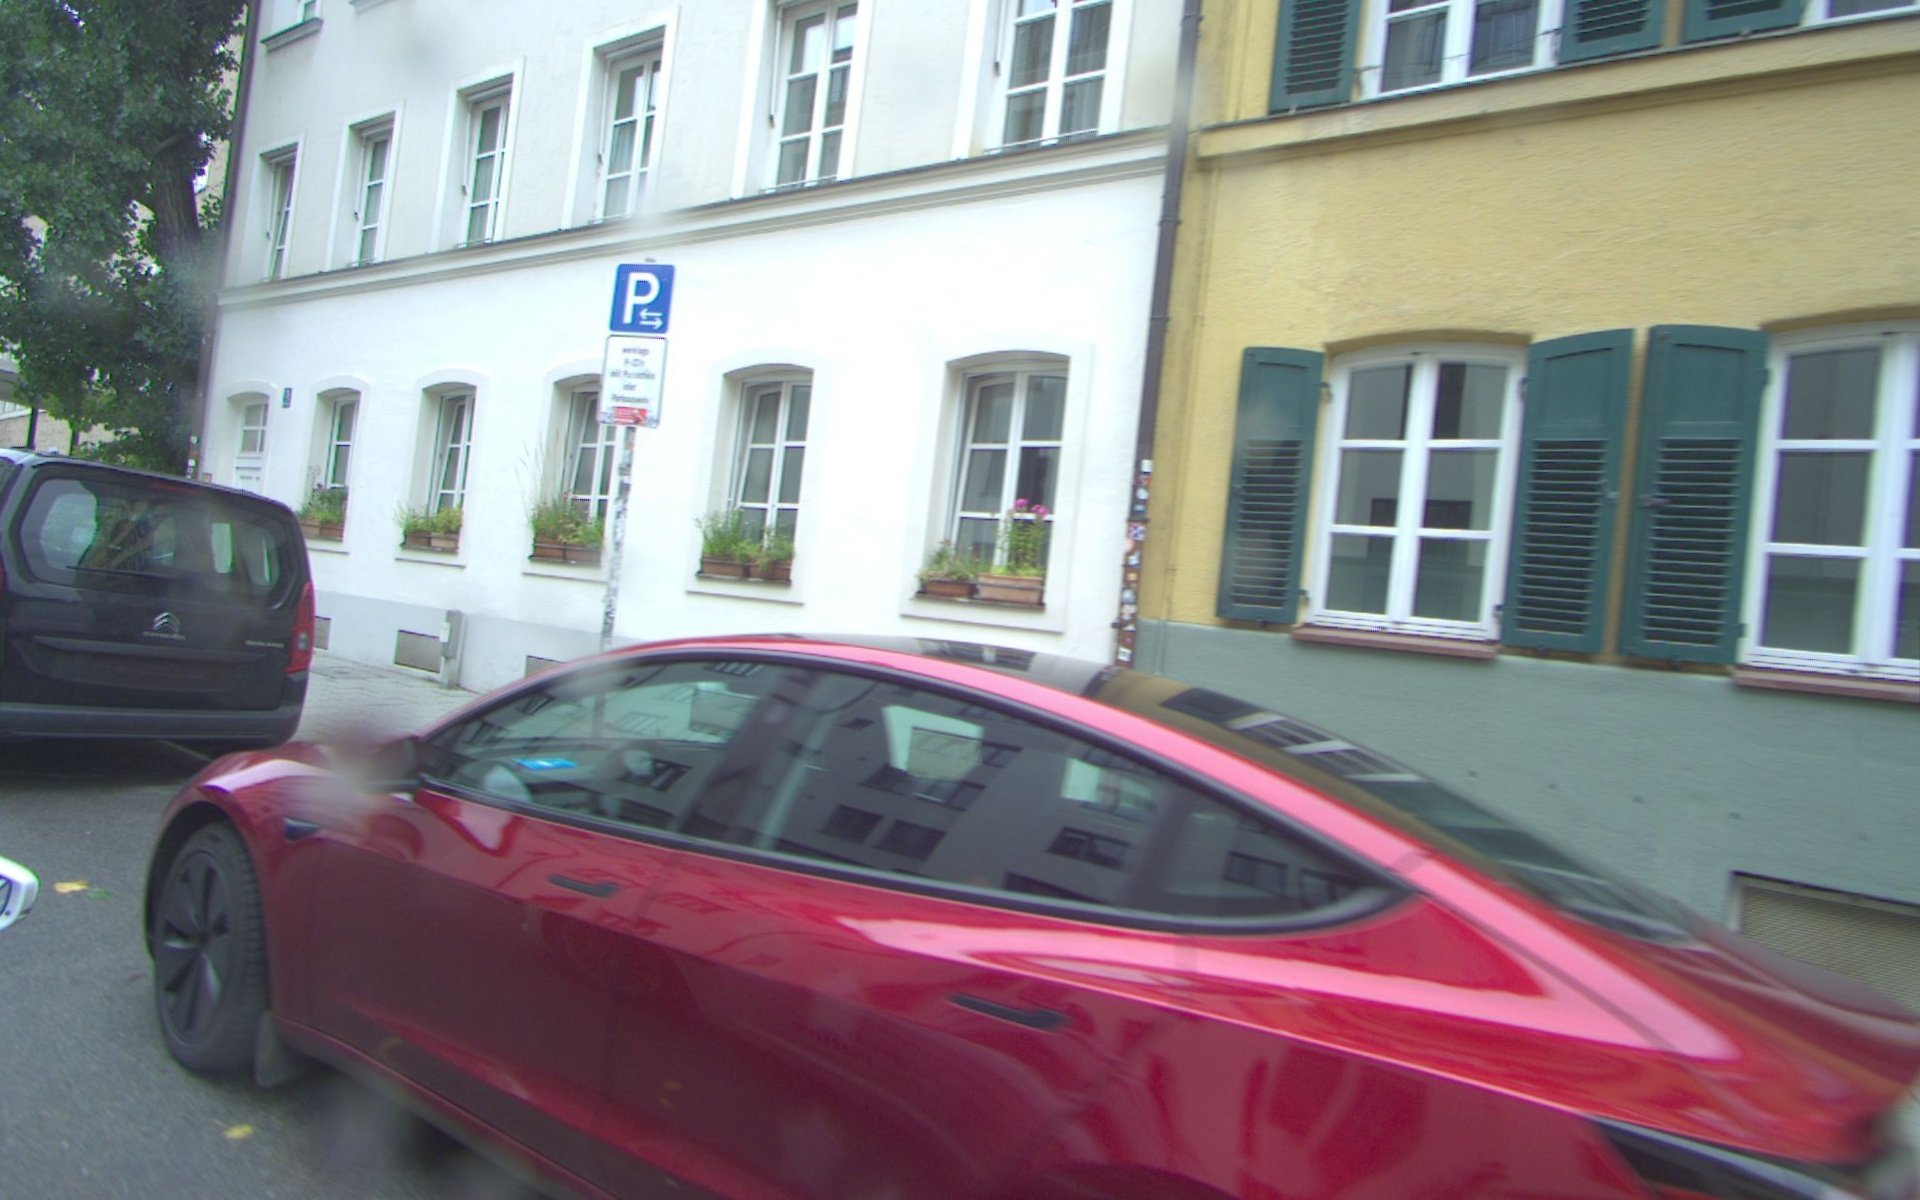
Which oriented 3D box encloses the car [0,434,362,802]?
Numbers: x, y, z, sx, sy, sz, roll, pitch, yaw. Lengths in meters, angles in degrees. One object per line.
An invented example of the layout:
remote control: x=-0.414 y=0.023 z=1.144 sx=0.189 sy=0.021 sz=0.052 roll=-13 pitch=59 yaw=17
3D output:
car: x=-6.088 y=0.011 z=6.635 sx=4.132 sy=1.796 sz=1.851 roll=6 pitch=-3 yaw=33

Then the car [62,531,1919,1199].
car: x=-0.435 y=0.777 z=2.775 sx=4.383 sy=1.441 sz=1.716 roll=6 pitch=-1 yaw=31
